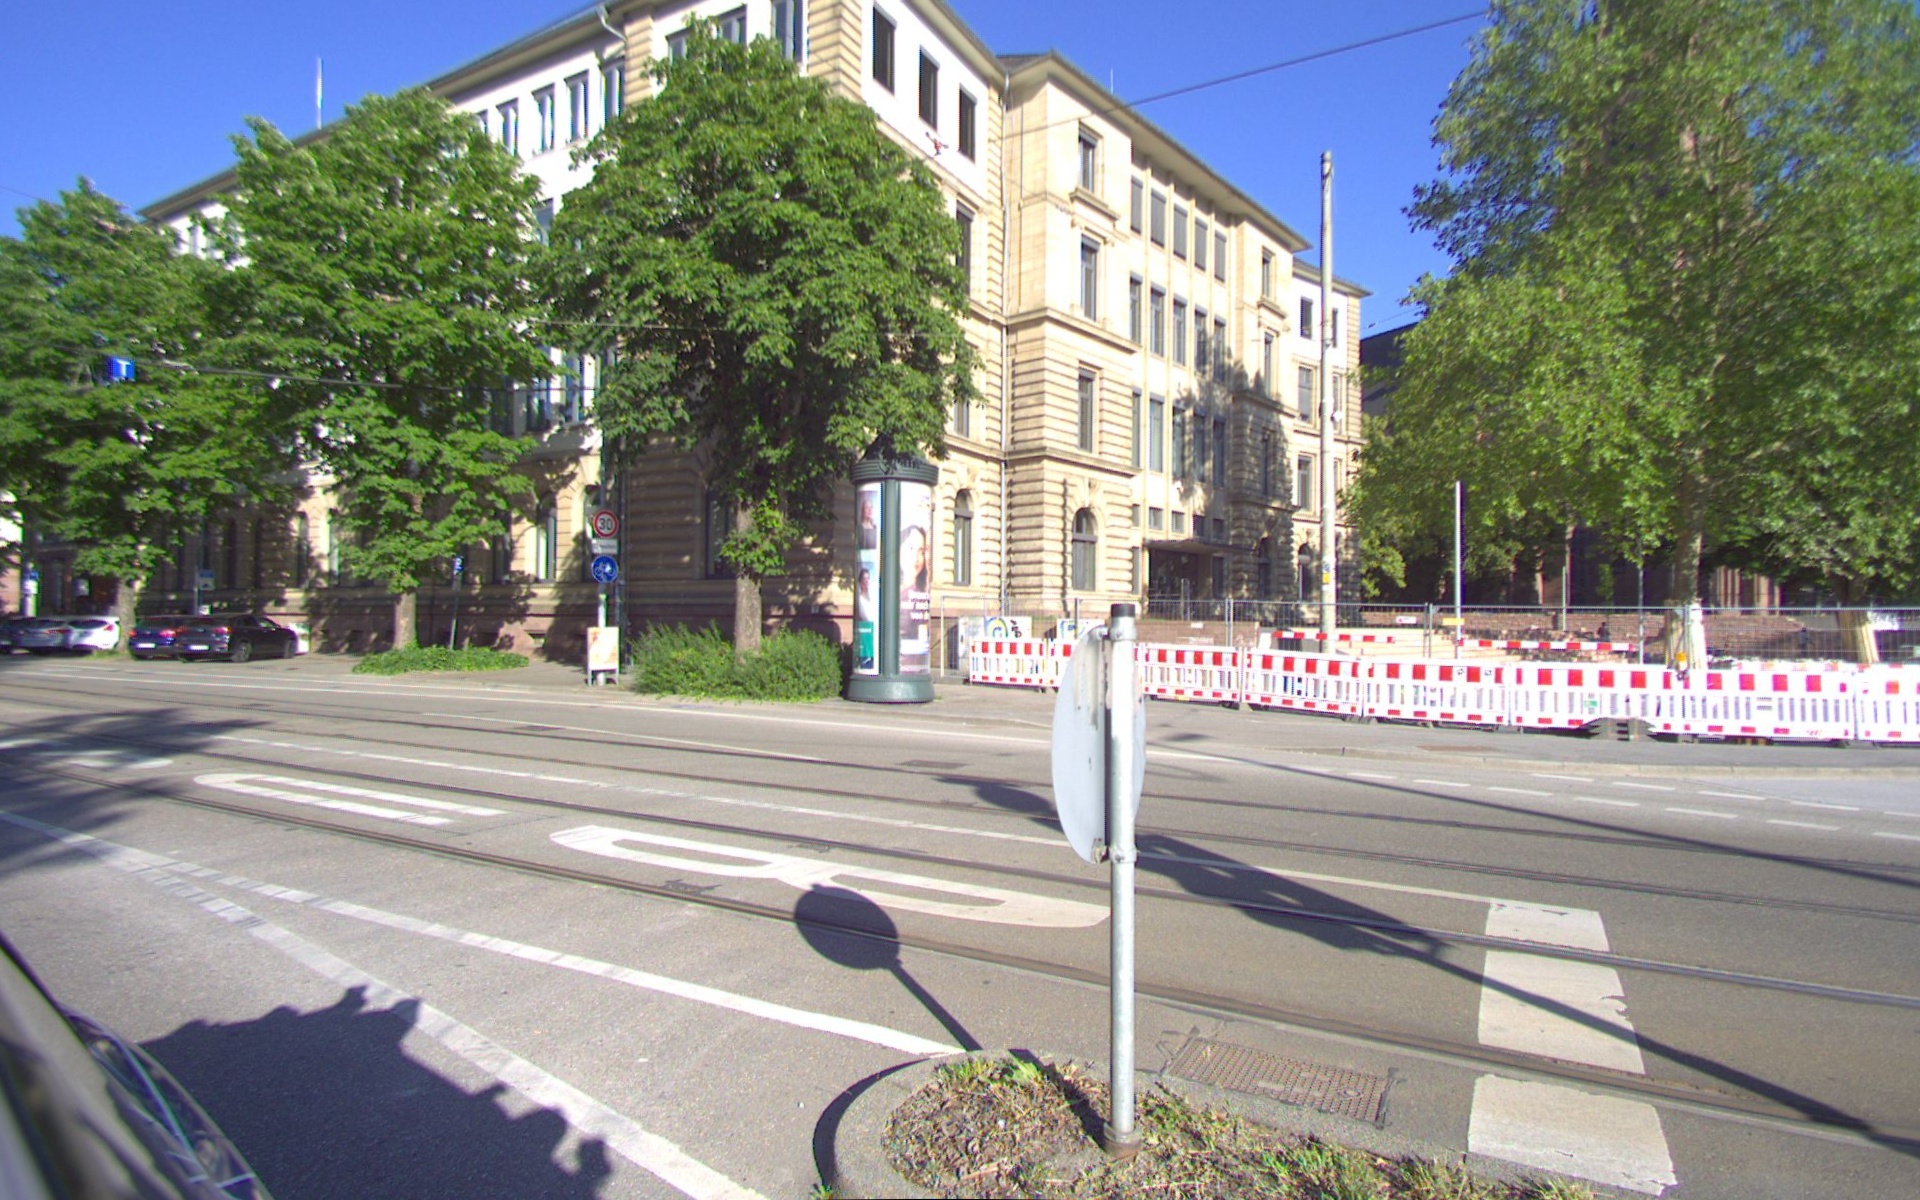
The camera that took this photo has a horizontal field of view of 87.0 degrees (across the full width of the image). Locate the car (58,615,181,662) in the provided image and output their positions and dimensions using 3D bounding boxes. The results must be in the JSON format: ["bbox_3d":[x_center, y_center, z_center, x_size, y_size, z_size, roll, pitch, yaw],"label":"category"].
[{"bbox_3d":[-30.916,1.374,37.357,1.626,1.572,3.652,-1,0,-3],"label":"car"}]

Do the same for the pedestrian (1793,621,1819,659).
[{"bbox_3d":[36.714,1.727,43.919,0.666,1.660,0.762,1,-2,-45],"label":"pedestrian"}]

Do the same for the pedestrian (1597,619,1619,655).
[{"bbox_3d":[30.512,1.727,47.685,0.627,1.660,0.677,1,-2,-37],"label":"pedestrian"}]

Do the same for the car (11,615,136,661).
[{"bbox_3d":[-33.229,1.392,38.068,1.626,1.572,3.652,-1,0,-3],"label":"car"}]

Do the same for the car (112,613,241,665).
[{"bbox_3d":[-26.245,1.271,34.040,1.626,1.572,3.652,-1,0,-3],"label":"car"}]

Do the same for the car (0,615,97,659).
[{"bbox_3d":[-36.245,1.414,39.776,1.626,1.572,3.652,-1,0,-3],"label":"car"}]

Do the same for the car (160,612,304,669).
[{"bbox_3d":[-23.616,1.261,33.038,1.819,1.643,4.184,-1,0,-3],"label":"car"}]
